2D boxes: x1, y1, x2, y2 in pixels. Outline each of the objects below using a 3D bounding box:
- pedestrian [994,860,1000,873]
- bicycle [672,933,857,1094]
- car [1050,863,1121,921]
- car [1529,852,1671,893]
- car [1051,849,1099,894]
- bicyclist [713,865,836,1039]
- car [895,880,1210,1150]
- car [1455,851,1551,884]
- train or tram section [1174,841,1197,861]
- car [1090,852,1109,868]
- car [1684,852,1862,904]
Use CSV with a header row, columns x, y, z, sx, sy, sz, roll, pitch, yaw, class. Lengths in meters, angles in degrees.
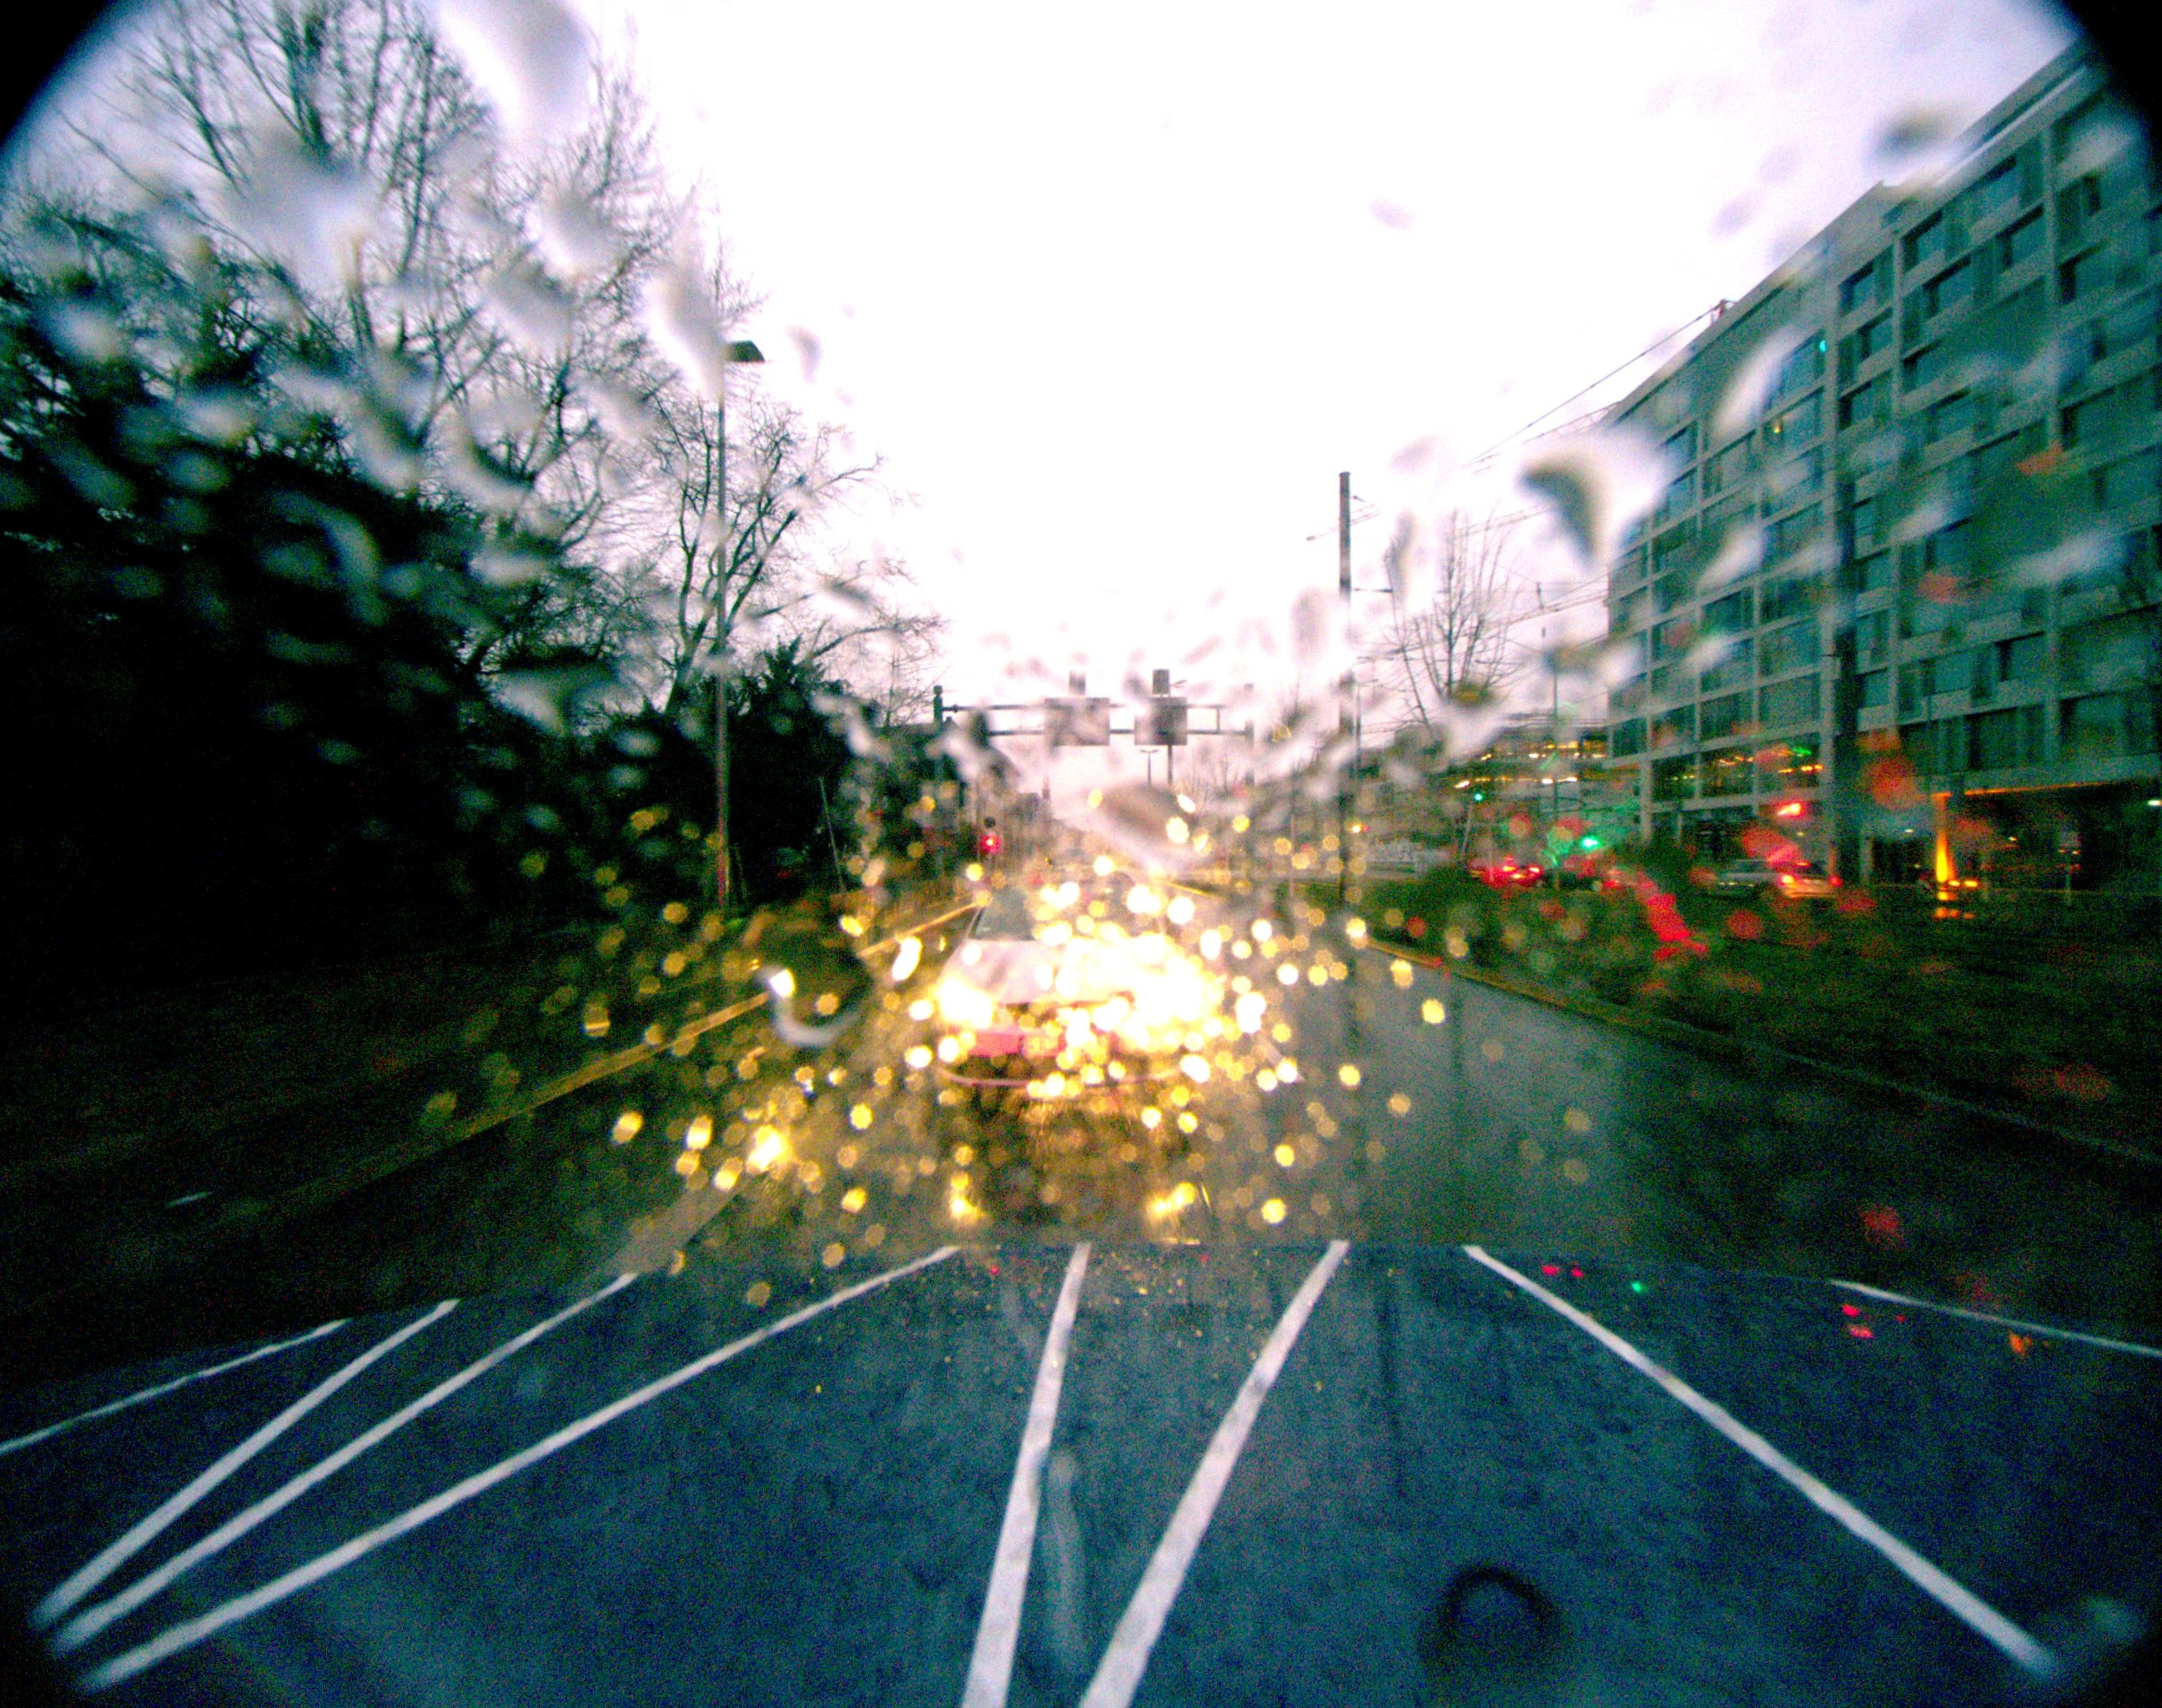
x,y,z,sx,sy,sz,roll,pitch,yaw,class
-9.489,1.437,85.898,0.521,1.501,0.588,0,1,1,pedestrian
-2.611,1.267,6.568,0.647,0.961,2.047,0,0,3,bicycle
0.107,0.962,20.833,1.728,1.318,3.981,-2,1,0,car
20.444,0.693,30.196,2.001,1.488,4.444,0,0,-15,car
-0.227,0.645,30.791,1.781,1.666,3.981,-2,1,0,car
-2.604,0.797,6.543,0.647,1.381,0.890,0,1,3,bicyclist
-0.165,1.006,6.425,1.798,1.363,3.981,-2,1,0,car
20.330,0.604,36.895,1.998,1.459,5.034,0,0,1,car
19.620,-0.549,143.709,2.964,3.466,14.268,0,0,2,train or tram section
1.799,0.563,73.149,1.767,1.363,3.981,-2,1,2,car
20.298,0.646,22.535,1.901,1.423,3.706,0,0,0,car
